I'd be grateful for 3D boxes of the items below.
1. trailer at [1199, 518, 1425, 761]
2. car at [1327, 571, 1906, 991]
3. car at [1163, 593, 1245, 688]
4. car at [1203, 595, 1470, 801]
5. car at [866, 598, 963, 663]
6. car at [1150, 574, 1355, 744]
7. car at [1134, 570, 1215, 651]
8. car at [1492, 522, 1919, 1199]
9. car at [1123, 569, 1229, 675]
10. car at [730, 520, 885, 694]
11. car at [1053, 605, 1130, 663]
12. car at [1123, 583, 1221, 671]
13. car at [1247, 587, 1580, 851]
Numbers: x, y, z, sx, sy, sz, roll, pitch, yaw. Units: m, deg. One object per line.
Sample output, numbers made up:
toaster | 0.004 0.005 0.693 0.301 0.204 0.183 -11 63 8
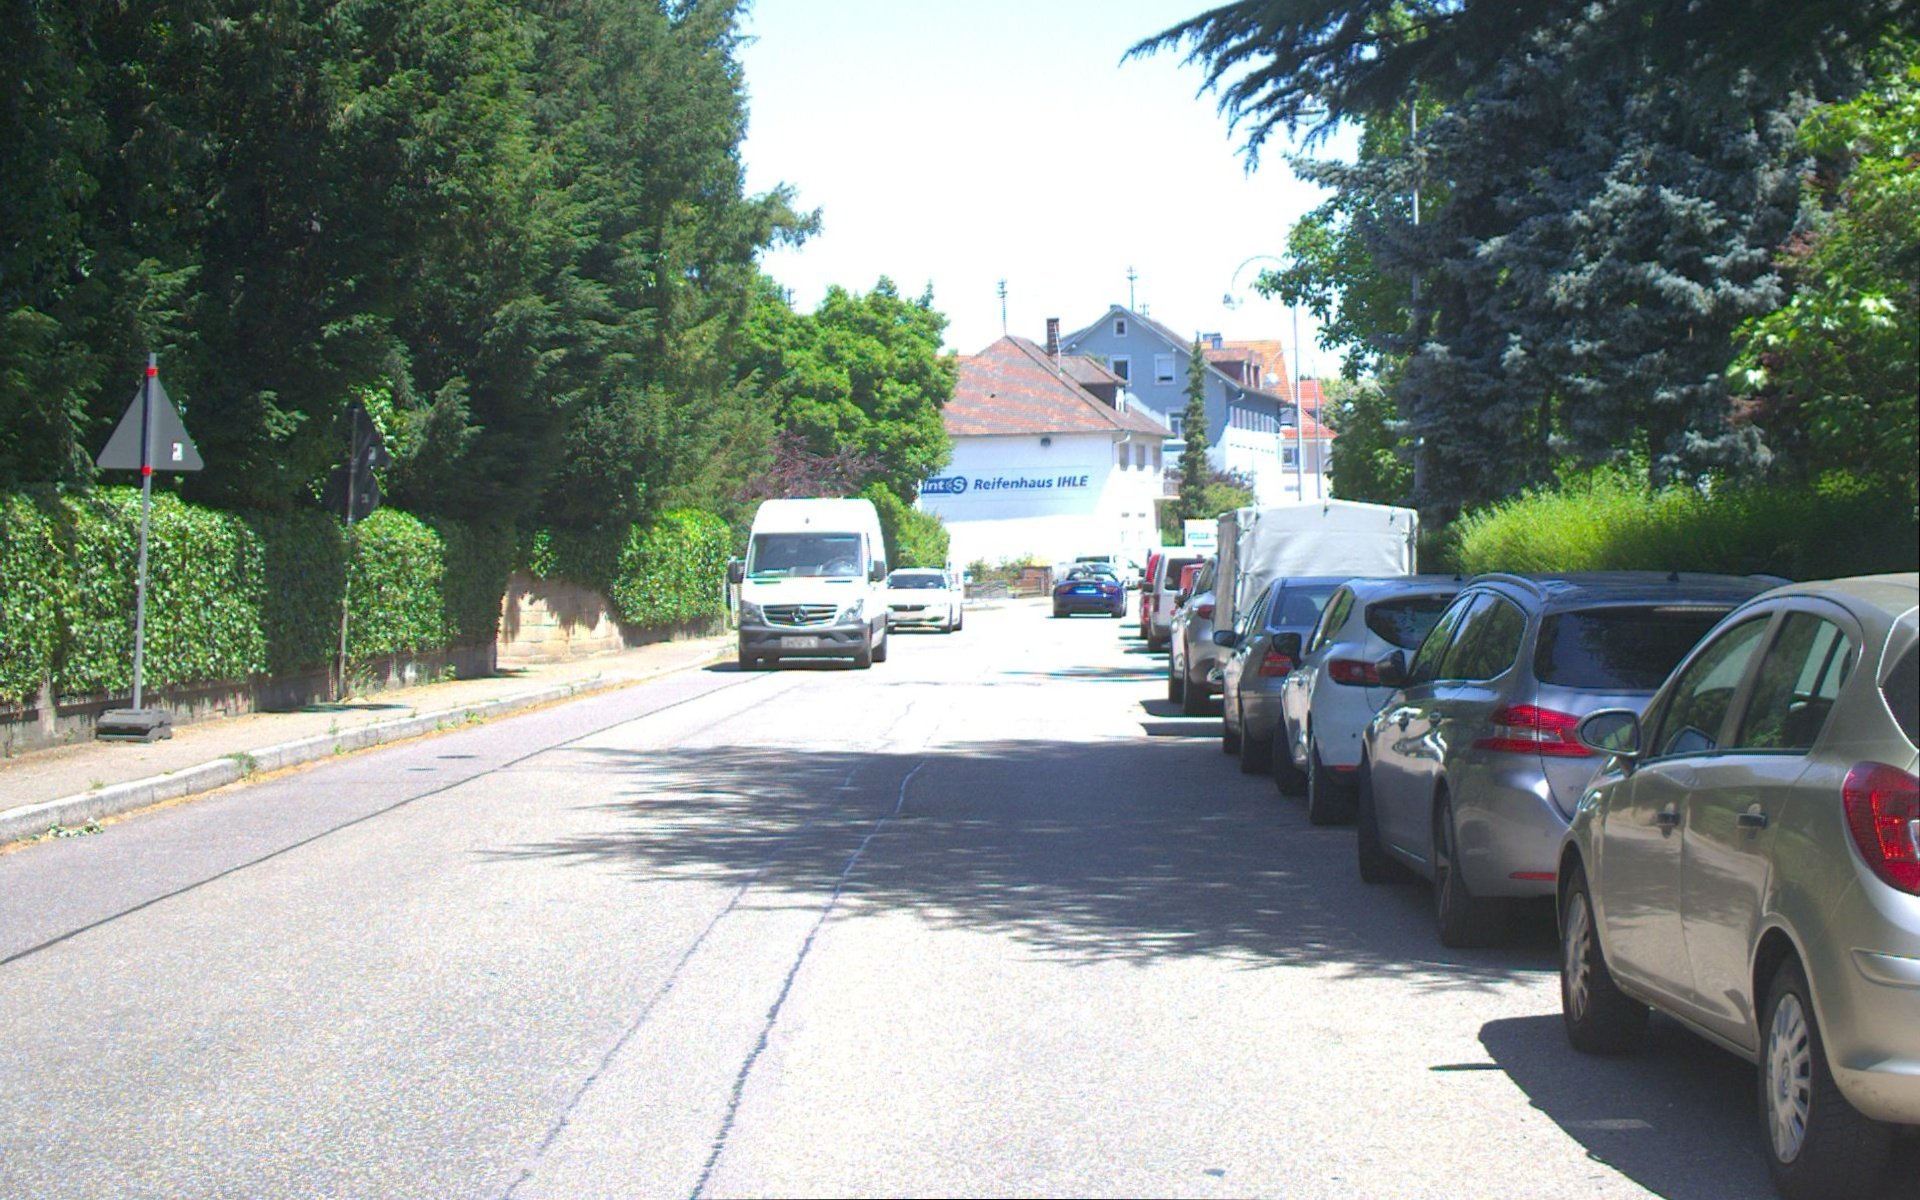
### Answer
trailer | 3.165 0.321 31.474 1.680 2.061 3.708 1 0 0
car | 2.588 0.642 14.527 1.614 1.446 4.374 2 0 1
car | 3.949 0.637 55.639 1.261 1.490 2.708 1 0 4
car | 2.739 0.687 25.784 1.614 1.391 4.258 1 0 1
car | -0.997 0.666 77.798 1.864 1.379 4.604 0 1 3
car | 3.000 0.563 36.083 1.771 1.626 4.604 1 0 0
car | 5.239 0.247 84.004 1.903 1.918 4.718 0 0 3
car | 2.621 0.644 9.301 1.614 1.507 4.064 3 -1 -1
car | 3.765 0.368 60.512 1.746 1.776 4.543 1 0 3
car | -2.290 0.111 53.154 1.993 2.524 5.894 0 0 1
car | 3.660 0.927 95.296 1.795 1.505 3.999 2 0 6
car | 4.350 0.541 70.613 1.903 1.722 4.391 1 0 4
car | 2.679 0.652 21.074 1.614 1.464 4.064 0 0 2
